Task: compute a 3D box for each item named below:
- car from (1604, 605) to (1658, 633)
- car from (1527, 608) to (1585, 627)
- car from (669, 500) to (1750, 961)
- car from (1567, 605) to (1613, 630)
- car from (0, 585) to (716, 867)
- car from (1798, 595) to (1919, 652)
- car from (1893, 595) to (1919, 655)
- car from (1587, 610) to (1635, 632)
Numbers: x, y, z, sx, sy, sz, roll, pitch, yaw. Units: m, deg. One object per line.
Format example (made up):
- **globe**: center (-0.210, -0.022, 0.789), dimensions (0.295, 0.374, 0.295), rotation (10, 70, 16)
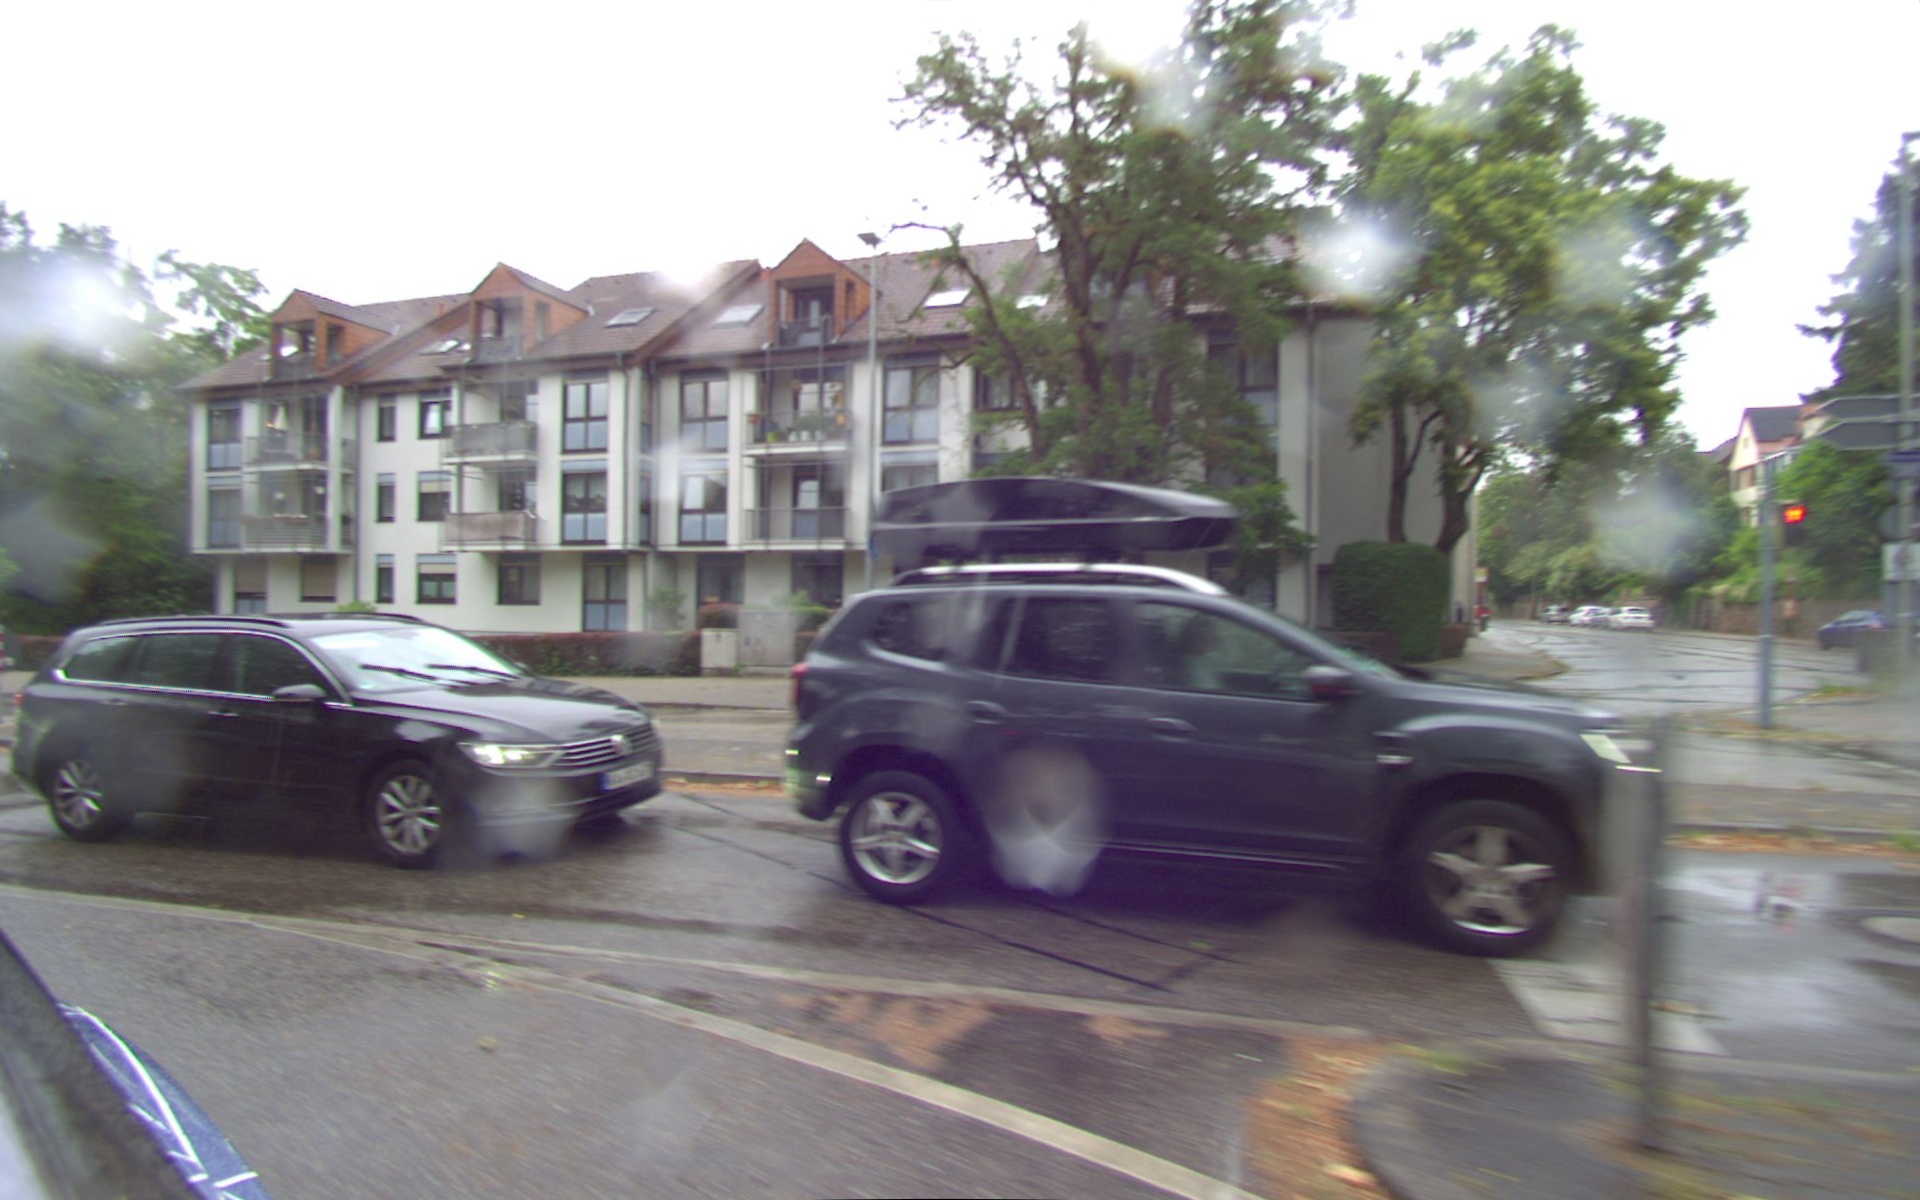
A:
- **car**: center (40.688, 1.184, 61.482), dimensions (1.804, 1.658, 3.974), rotation (1, -2, 19)
- **car**: center (47.737, 1.406, 81.171), dimensions (3.863, 1.453, 1.800), rotation (0, -2, 28)
- **car**: center (0.979, 0.541, 5.280), dimensions (4.560, 1.724, 1.757), rotation (-2, 0, 16)
- **car**: center (44.254, 1.216, 71.156), dimensions (1.913, 1.667, 3.974), rotation (1, -2, 19)
- **car**: center (-4.210, 0.733, 6.950), dimensions (4.618, 1.467, 1.828), rotation (-2, 1, 17)
- **car**: center (32.661, 0.778, 36.330), dimensions (2.094, 1.867, 5.546), rotation (1, 0, 19)
- **car**: center (30.617, 0.798, 30.095), dimensions (2.094, 1.867, 5.546), rotation (1, 0, 19)
- **car**: center (42.437, 1.389, 66.070), dimensions (1.747, 1.409, 3.973), rotation (1, -2, 20)
